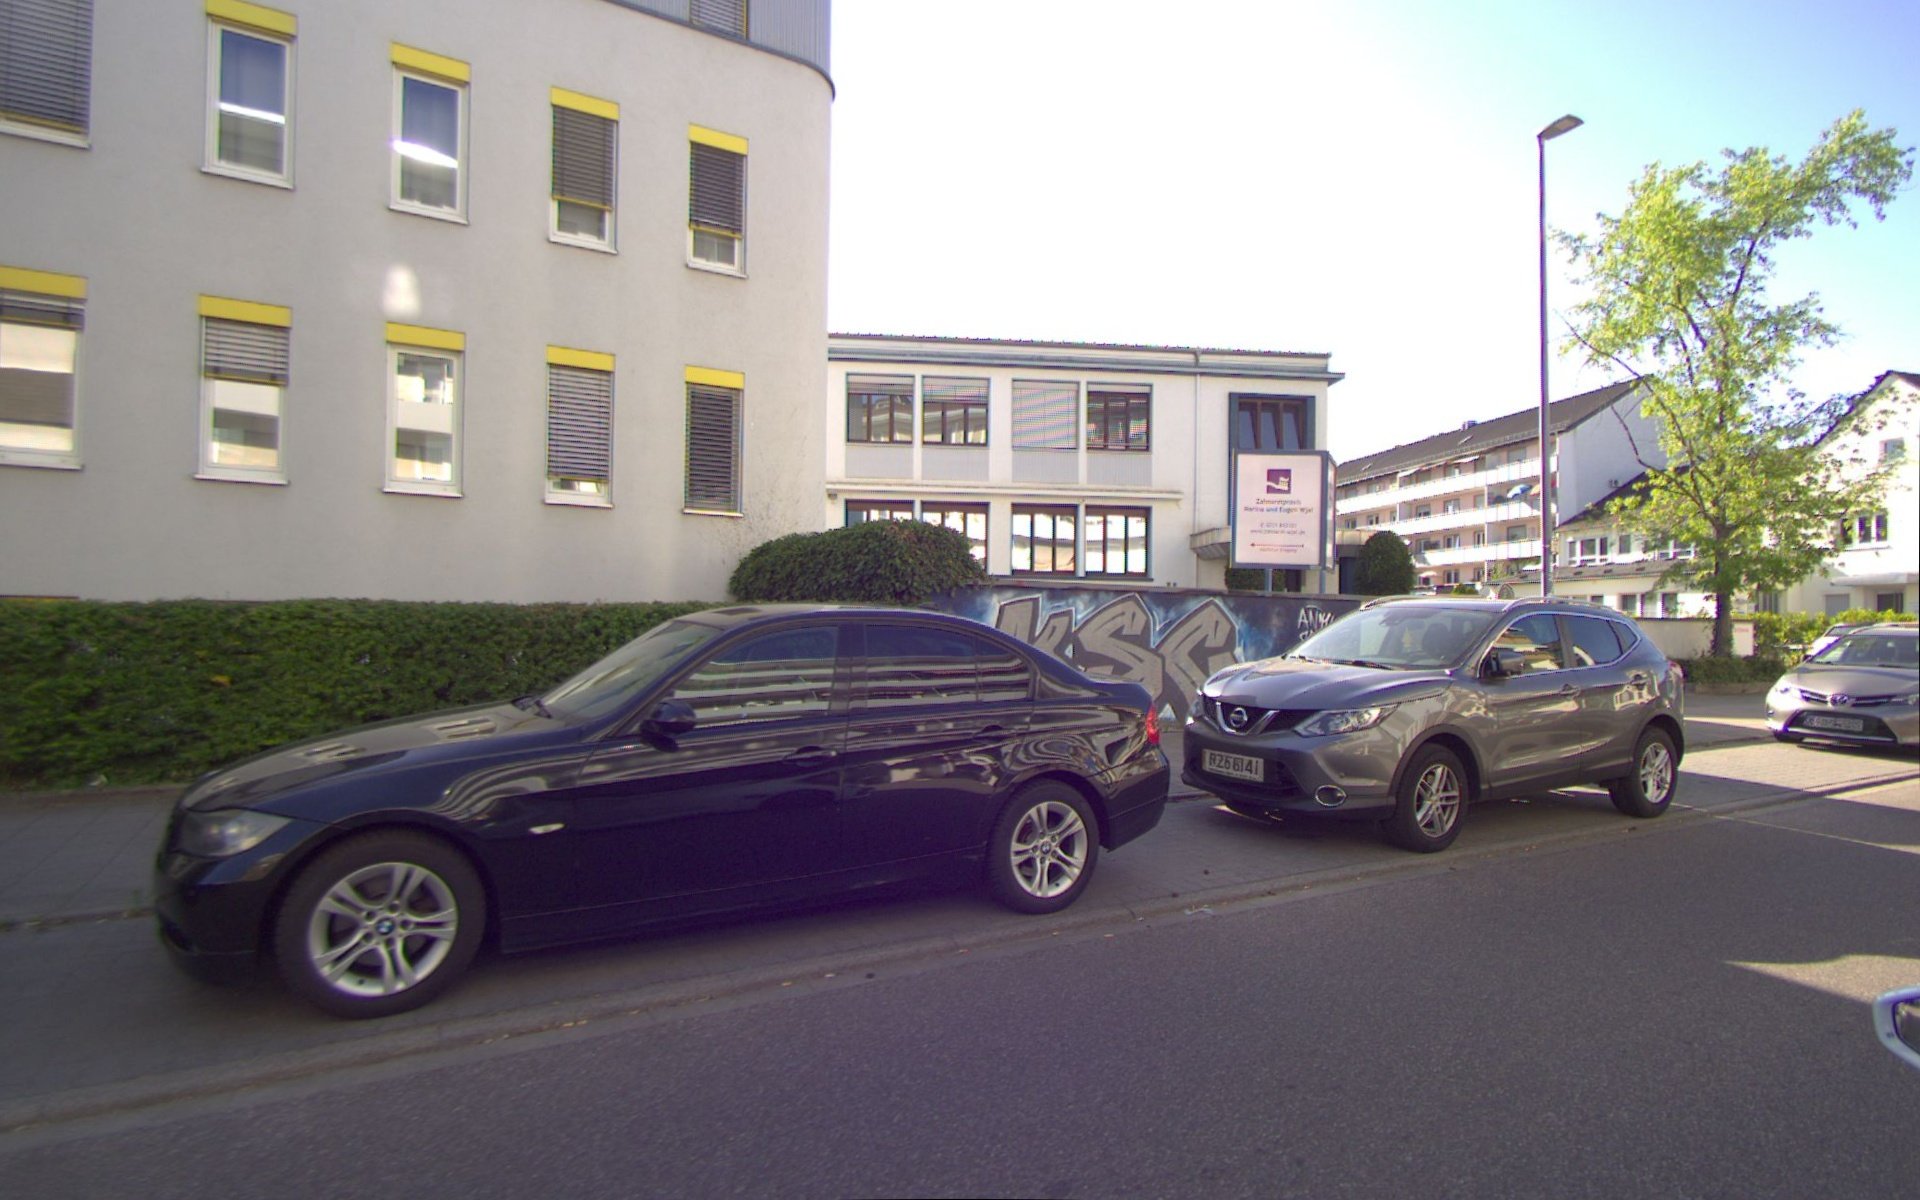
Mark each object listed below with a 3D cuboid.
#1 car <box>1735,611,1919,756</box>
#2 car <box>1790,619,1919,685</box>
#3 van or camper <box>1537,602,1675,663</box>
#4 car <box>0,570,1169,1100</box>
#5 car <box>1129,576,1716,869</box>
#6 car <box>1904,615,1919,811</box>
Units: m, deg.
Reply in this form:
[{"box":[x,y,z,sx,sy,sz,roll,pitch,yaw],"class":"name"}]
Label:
[{"box":[12.010,0.952,12.665,4.862,1.555,1.983,1,-1,-32],"class":"car"},{"box":[24.109,1.383,26.461,3.129,1.576,1.804,3,-2,-7],"class":"car"},{"box":[27.831,1.442,43.537,2.111,2.429,5.229,2,-3,-9],"class":"van or camper"},{"box":[-1.292,0.715,4.616,4.386,1.484,1.718,1,-1,-30],"class":"car"},{"box":[3.493,0.729,7.366,4.368,1.607,1.712,1,-1,-30],"class":"car"},{"box":[9.500,1.004,8.077,3.685,1.532,1.733,5,-3,-29],"class":"car"}]
